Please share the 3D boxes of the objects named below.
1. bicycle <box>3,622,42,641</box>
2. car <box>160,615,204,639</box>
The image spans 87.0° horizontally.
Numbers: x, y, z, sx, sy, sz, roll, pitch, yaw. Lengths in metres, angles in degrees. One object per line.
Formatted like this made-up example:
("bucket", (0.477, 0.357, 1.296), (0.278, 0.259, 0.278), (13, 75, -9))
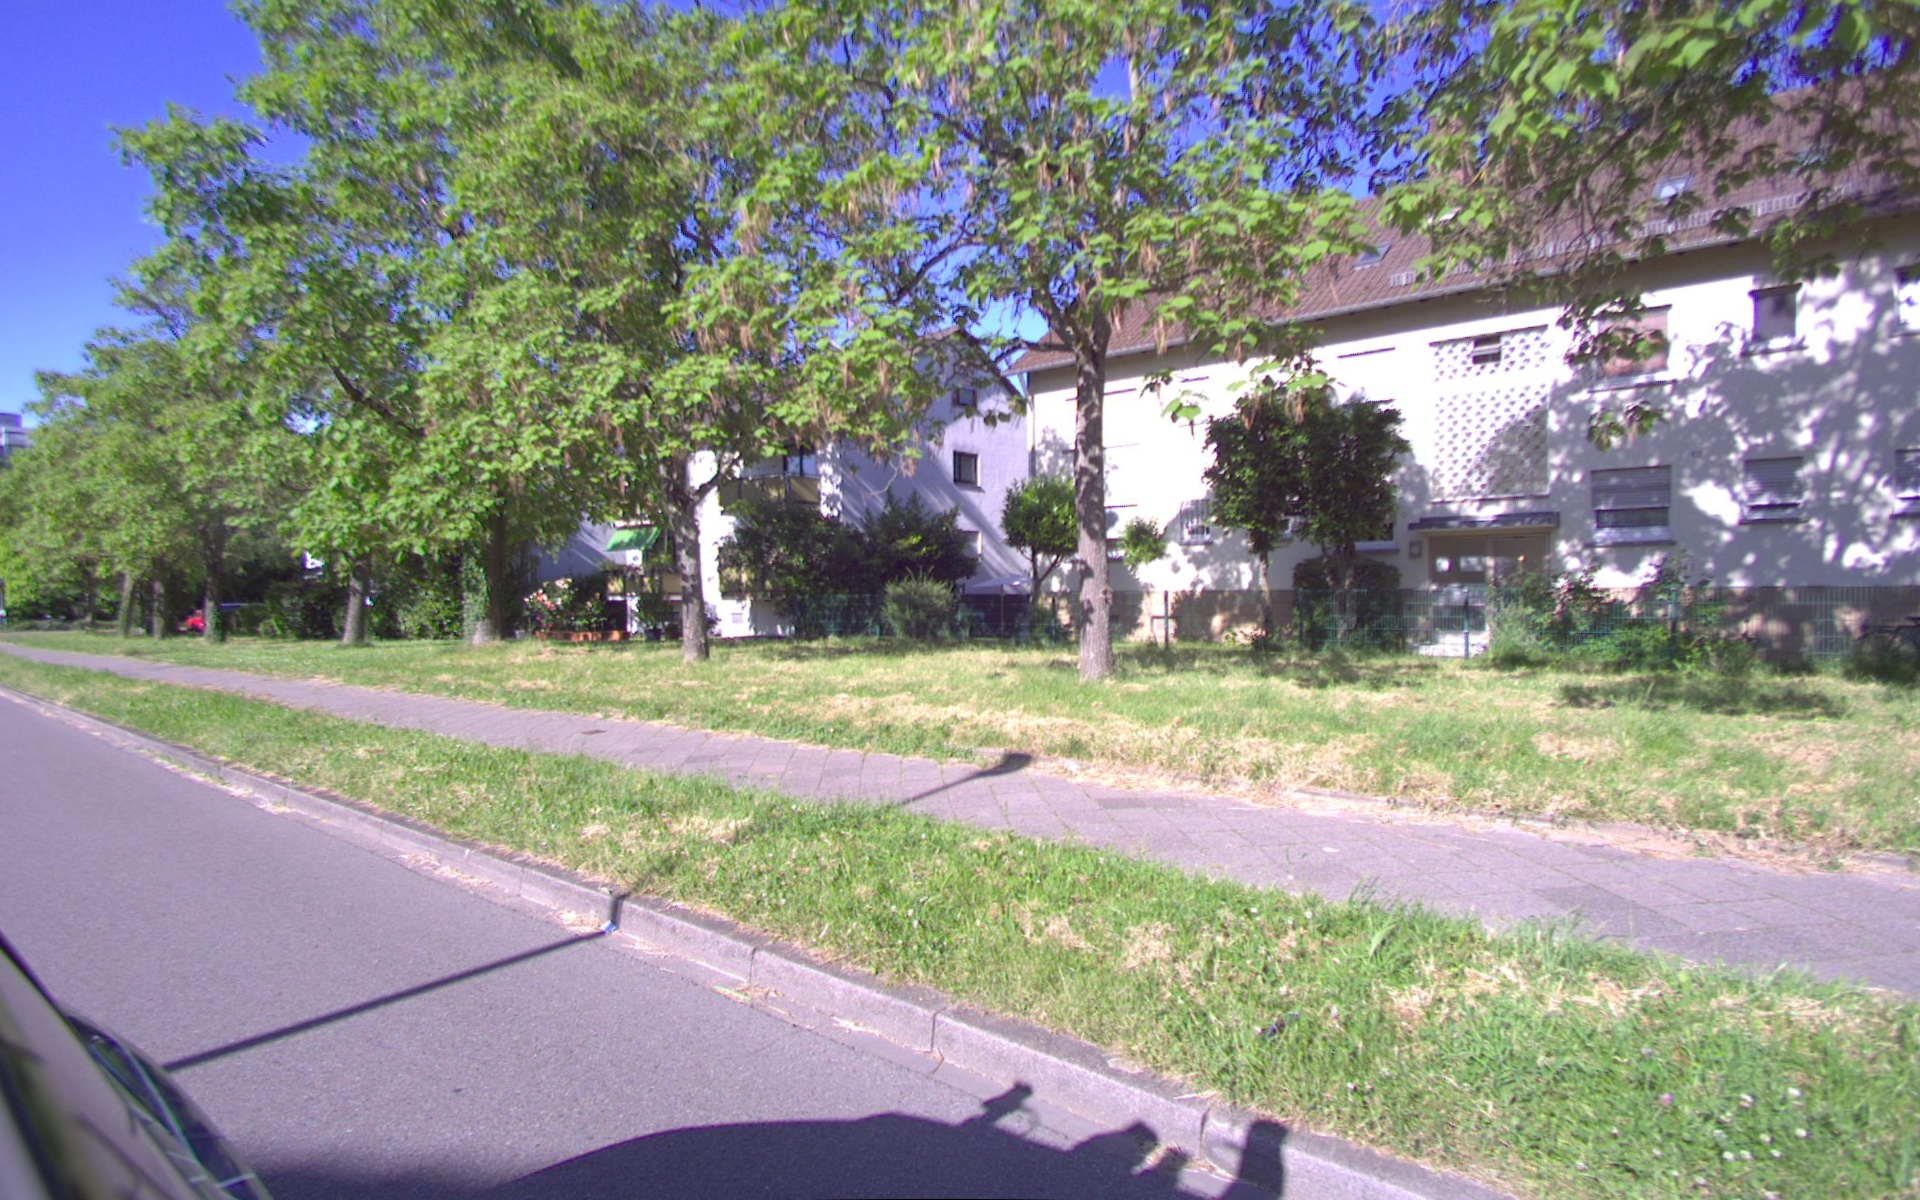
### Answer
("bicycle", (-62.611, 2.125, 67.592), (1.875, 1.161, 0.762), (-1, 3, -39))
("car", (-53.902, 1.838, 70.113), (3.883, 1.498, 1.653), (1, 1, 40))
